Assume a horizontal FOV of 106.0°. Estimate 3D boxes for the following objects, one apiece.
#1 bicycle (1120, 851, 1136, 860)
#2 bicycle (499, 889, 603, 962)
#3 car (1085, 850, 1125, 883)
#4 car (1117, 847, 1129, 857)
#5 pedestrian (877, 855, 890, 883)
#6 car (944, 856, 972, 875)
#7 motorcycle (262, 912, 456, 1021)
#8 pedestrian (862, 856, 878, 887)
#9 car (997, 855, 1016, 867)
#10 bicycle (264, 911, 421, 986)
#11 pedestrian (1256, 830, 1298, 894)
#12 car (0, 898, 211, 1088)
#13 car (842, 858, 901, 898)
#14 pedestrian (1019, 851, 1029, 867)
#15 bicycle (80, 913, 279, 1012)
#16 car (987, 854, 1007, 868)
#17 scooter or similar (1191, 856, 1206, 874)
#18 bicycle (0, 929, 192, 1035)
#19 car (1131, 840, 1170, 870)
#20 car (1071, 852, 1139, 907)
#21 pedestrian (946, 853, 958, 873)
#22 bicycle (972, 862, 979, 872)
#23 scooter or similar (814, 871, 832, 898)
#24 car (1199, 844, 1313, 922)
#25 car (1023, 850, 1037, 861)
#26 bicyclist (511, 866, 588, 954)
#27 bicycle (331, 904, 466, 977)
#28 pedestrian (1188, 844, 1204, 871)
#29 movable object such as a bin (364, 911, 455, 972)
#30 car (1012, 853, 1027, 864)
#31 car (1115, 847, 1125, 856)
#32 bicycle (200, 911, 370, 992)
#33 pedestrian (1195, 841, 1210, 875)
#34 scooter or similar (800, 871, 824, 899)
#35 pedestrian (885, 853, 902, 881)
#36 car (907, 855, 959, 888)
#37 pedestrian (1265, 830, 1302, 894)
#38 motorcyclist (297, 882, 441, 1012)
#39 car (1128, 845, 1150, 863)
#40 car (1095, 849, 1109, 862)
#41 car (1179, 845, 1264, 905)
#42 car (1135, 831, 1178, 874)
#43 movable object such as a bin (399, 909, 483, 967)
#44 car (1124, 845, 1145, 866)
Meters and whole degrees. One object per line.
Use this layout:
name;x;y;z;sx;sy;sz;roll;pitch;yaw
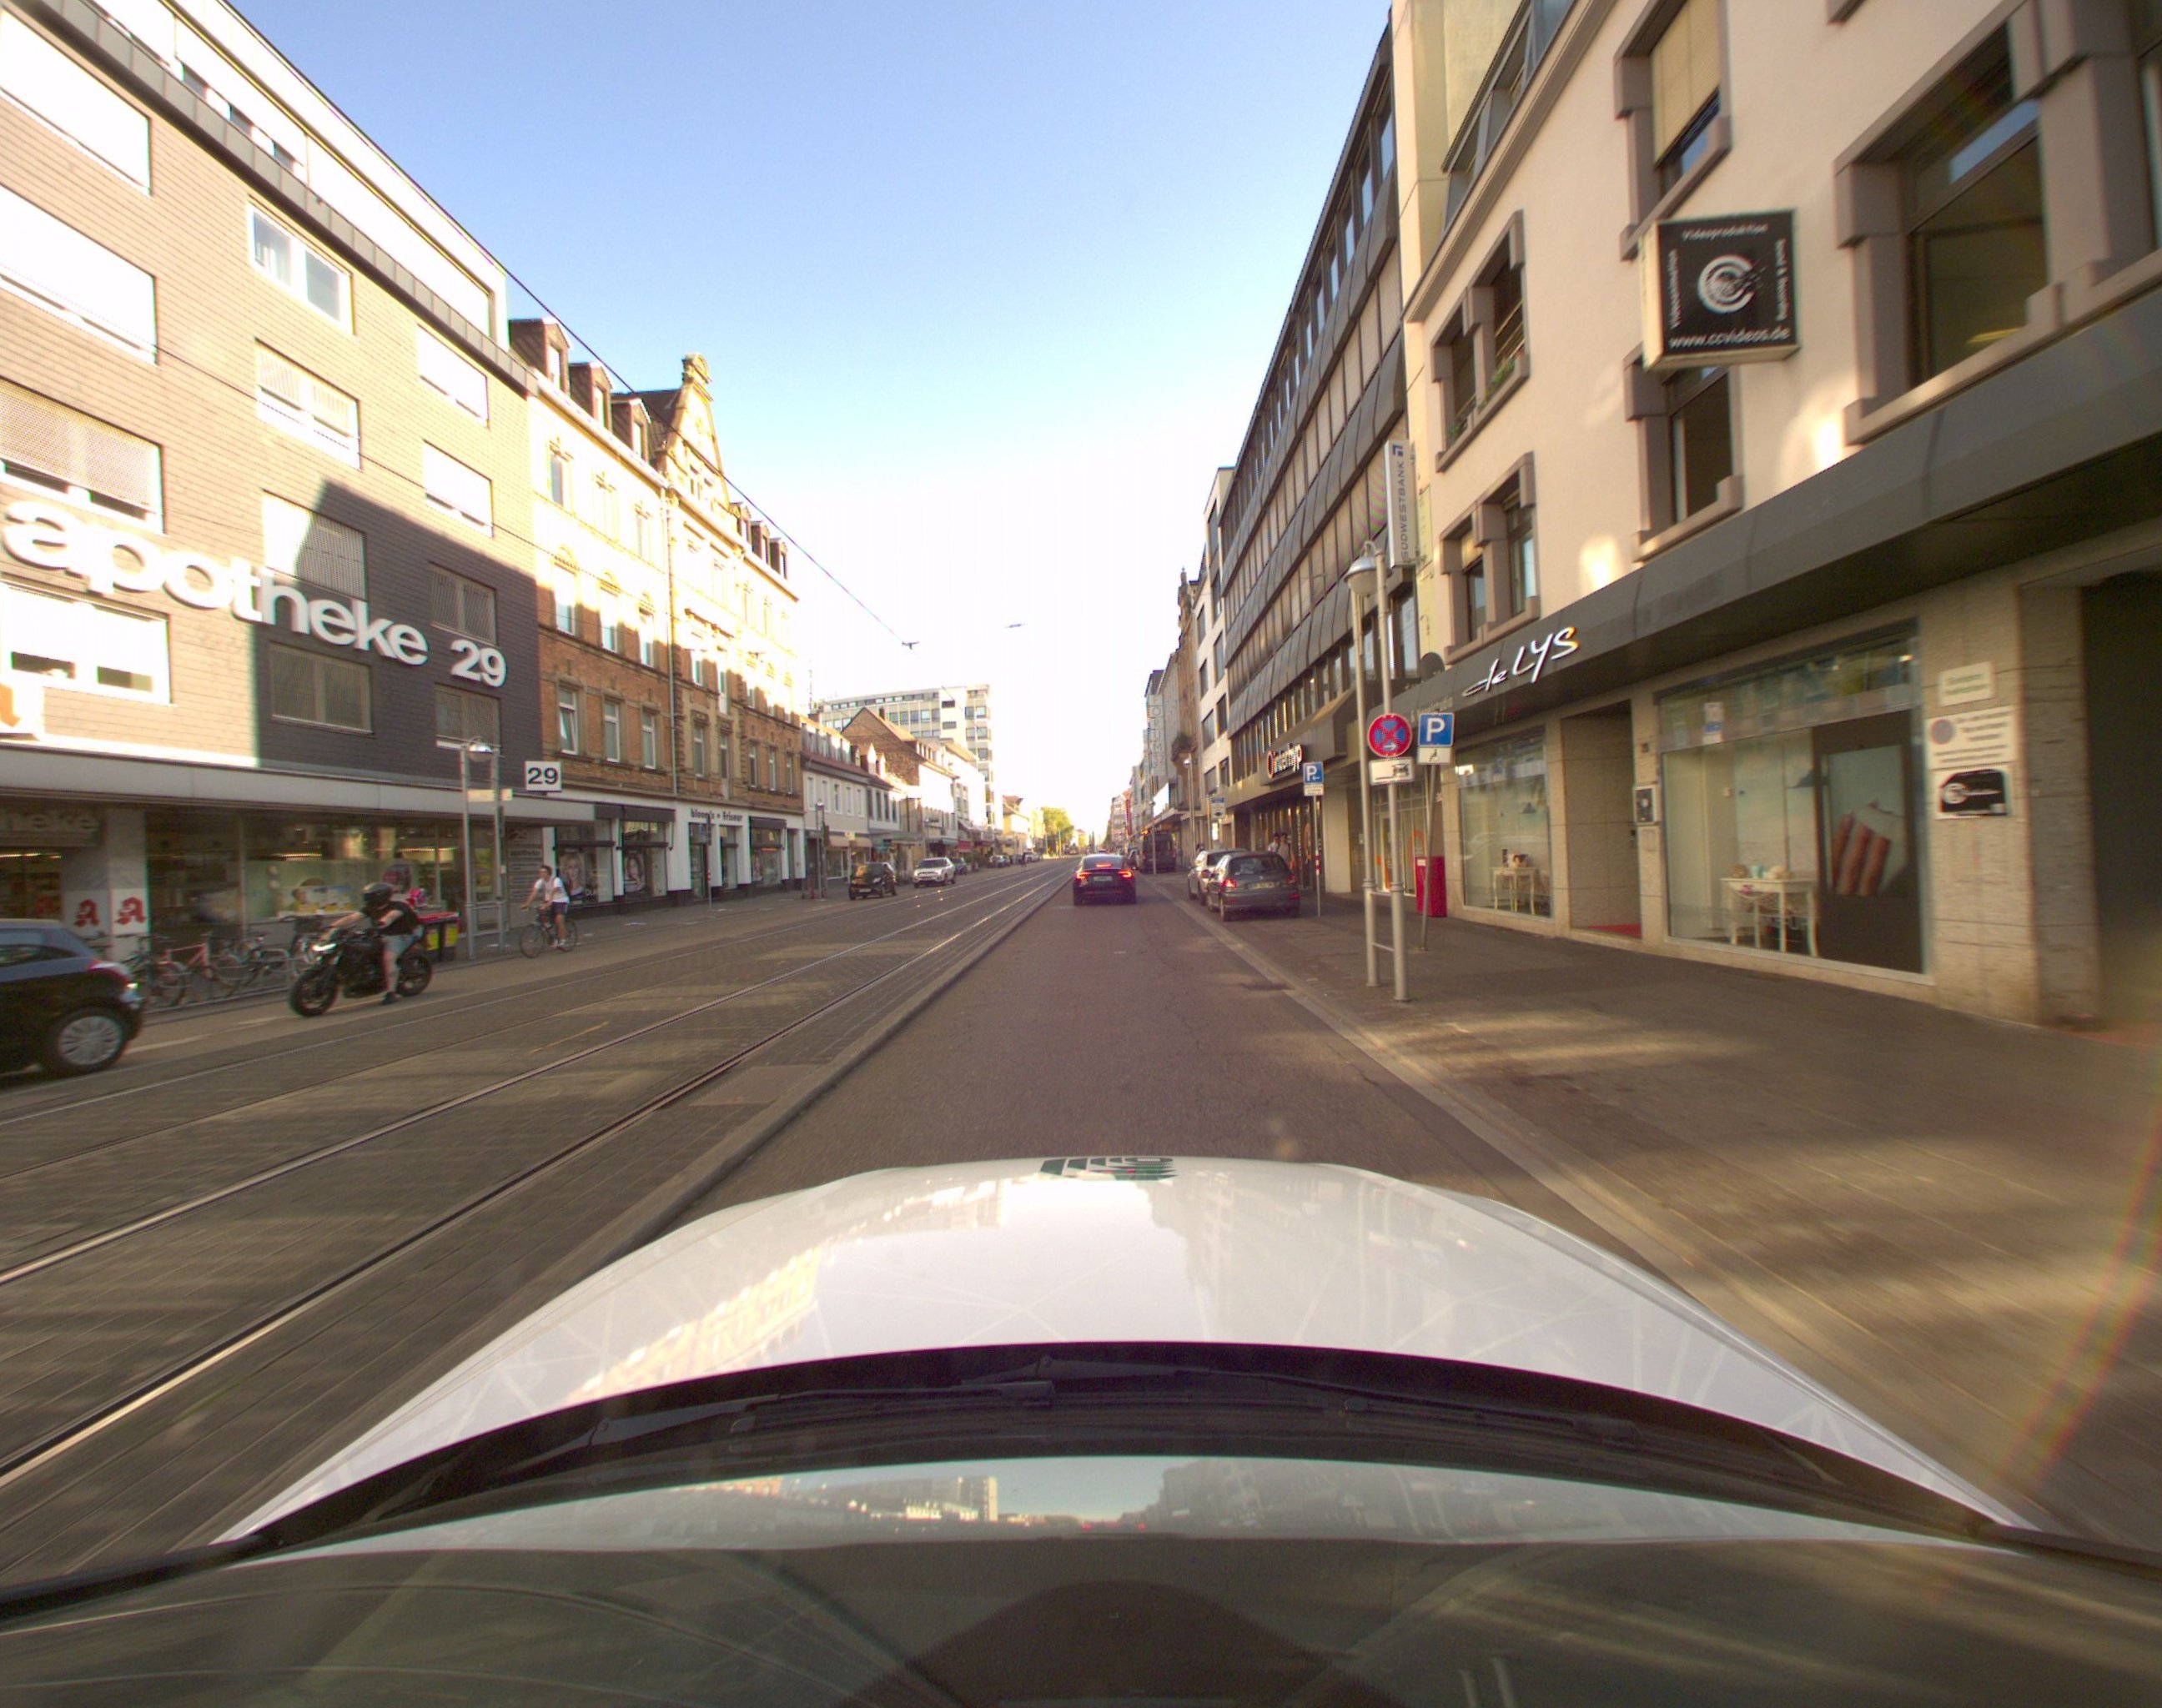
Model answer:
bicycle;6.402;0.185;111.020;2.153;1.097;0.686;-3;0;-1
bicycle;-11.028;1.451;17.034;0.747;1.293;2.026;-3;0;2
car;1.164;0.586;39.069;1.755;1.418;4.357;-3;0;2
car;7.216;-0.325;139.840;1.986;1.543;4.001;-2;0;2
pedestrian;-12.903;0.976;53.214;0.655;1.823;0.641;-2;0;-4
car;-10.984;0.997;73.101;1.668;1.546;3.747;-1;0;4
motorcycle;-9.456;1.422;10.812;0.567;1.119;2.118;-4;0;2
pedestrian;-12.497;1.039;48.218;0.609;1.775;0.721;-2;0;15
car;-9.792;0.885;107.307;1.761;1.508;3.866;-3;0;5
bicycle;-12.936;1.637;14.311;1.930;1.111;0.773;-3;0;-4
pedestrian;5.924;0.230;24.675;0.919;1.842;1.000;-5;0;2
car;-9.670;1.253;6.066;1.707;1.446;4.141;-5;0;2
car;-8.940;0.986;34.977;1.642;1.566;2.831;-3;0;2
pedestrian;-6.777;0.647;97.285;0.764;1.848;0.833;-3;0;32
bicycle;-13.207;1.568;11.980;1.930;1.279;0.773;-2;0;-4
car;-10.389;0.840;100.897;1.762;1.508;3.867;-3;0;3
scooter or similar;6.356;0.592;44.067;0.591;0.936;1.298;-5;0;0
bicycle;-13.248;1.677;10.791;1.930;1.192;0.773;-3;0;-4
car;4.998;0.061;58.938;2.152;1.926;4.615;-6;0;-1
car;0.767;0.715;25.064;1.862;1.427;4.367;-2;1;2
pedestrian;-9.520;0.643;60.250;0.621;1.444;0.876;-2;-1;6
bicycle;-10.396;1.263;79.945;0.369;1.002;1.596;-3;0;-16
scooter or similar;-11.803;1.385;37.225;0.363;1.202;1.476;-1;0;-1
car;3.841;0.579;18.618;1.840;1.462;4.306;-4;0;3
car;-8.991;0.240;143.873;2.001;1.961;4.726;-3;0;1
bicyclist;-11.124;1.153;17.083;0.747;1.729;1.147;-3;0;2
bicycle;-12.596;1.589;15.061;1.930;1.190;0.551;-3;0;-3
pedestrian;7.032;0.210;49.641;0.766;1.543;0.804;-5;0;1
movable object such as a bin;-12.900;1.674;15.668;1.095;1.072;0.735;-1;0;1
car;-9.399;0.674;124.643;1.710;1.571;3.853;-3;0;4
car;8.037;-0.550;168.338;1.986;1.753;4.001;-2;0;2
bicycle;-13.098;1.592;13.453;1.930;1.152;0.773;-2;0;-4
pedestrian;6.412;0.192;43.004;0.554;1.714;0.955;-5;0;0
scooter or similar;-12.288;1.405;37.229;0.577;1.202;1.476;-1;0;-1
pedestrian;-12.423;0.850;53.842;0.883;1.775;0.688;-2;0;0
car;-8.343;0.964;46.272;1.883;1.594;4.265;-4;0;2
pedestrian;5.789;0.220;23.341;0.776;1.752;1.033;-3;0;2
motorcyclist;-9.462;1.198;10.880;0.800;1.558;1.147;-4;0;2
car;5.148;0.000;72.809;1.745;1.499;3.756;-3;1;2
car;3.430;0.245;131.369;2.077;1.870;3.755;-2;1;2
car;3.930;0.541;23.471;1.739;1.462;4.297;-3;0;2
car;4.802;-0.132;52.393;2.164;2.461;5.363;-4;0;1
movable object such as a bin;-12.865;1.671;16.394;1.095;1.063;0.699;-1;0;1
car;5.144;0.110;78.952;1.814;1.870;3.756;-2;1;2
